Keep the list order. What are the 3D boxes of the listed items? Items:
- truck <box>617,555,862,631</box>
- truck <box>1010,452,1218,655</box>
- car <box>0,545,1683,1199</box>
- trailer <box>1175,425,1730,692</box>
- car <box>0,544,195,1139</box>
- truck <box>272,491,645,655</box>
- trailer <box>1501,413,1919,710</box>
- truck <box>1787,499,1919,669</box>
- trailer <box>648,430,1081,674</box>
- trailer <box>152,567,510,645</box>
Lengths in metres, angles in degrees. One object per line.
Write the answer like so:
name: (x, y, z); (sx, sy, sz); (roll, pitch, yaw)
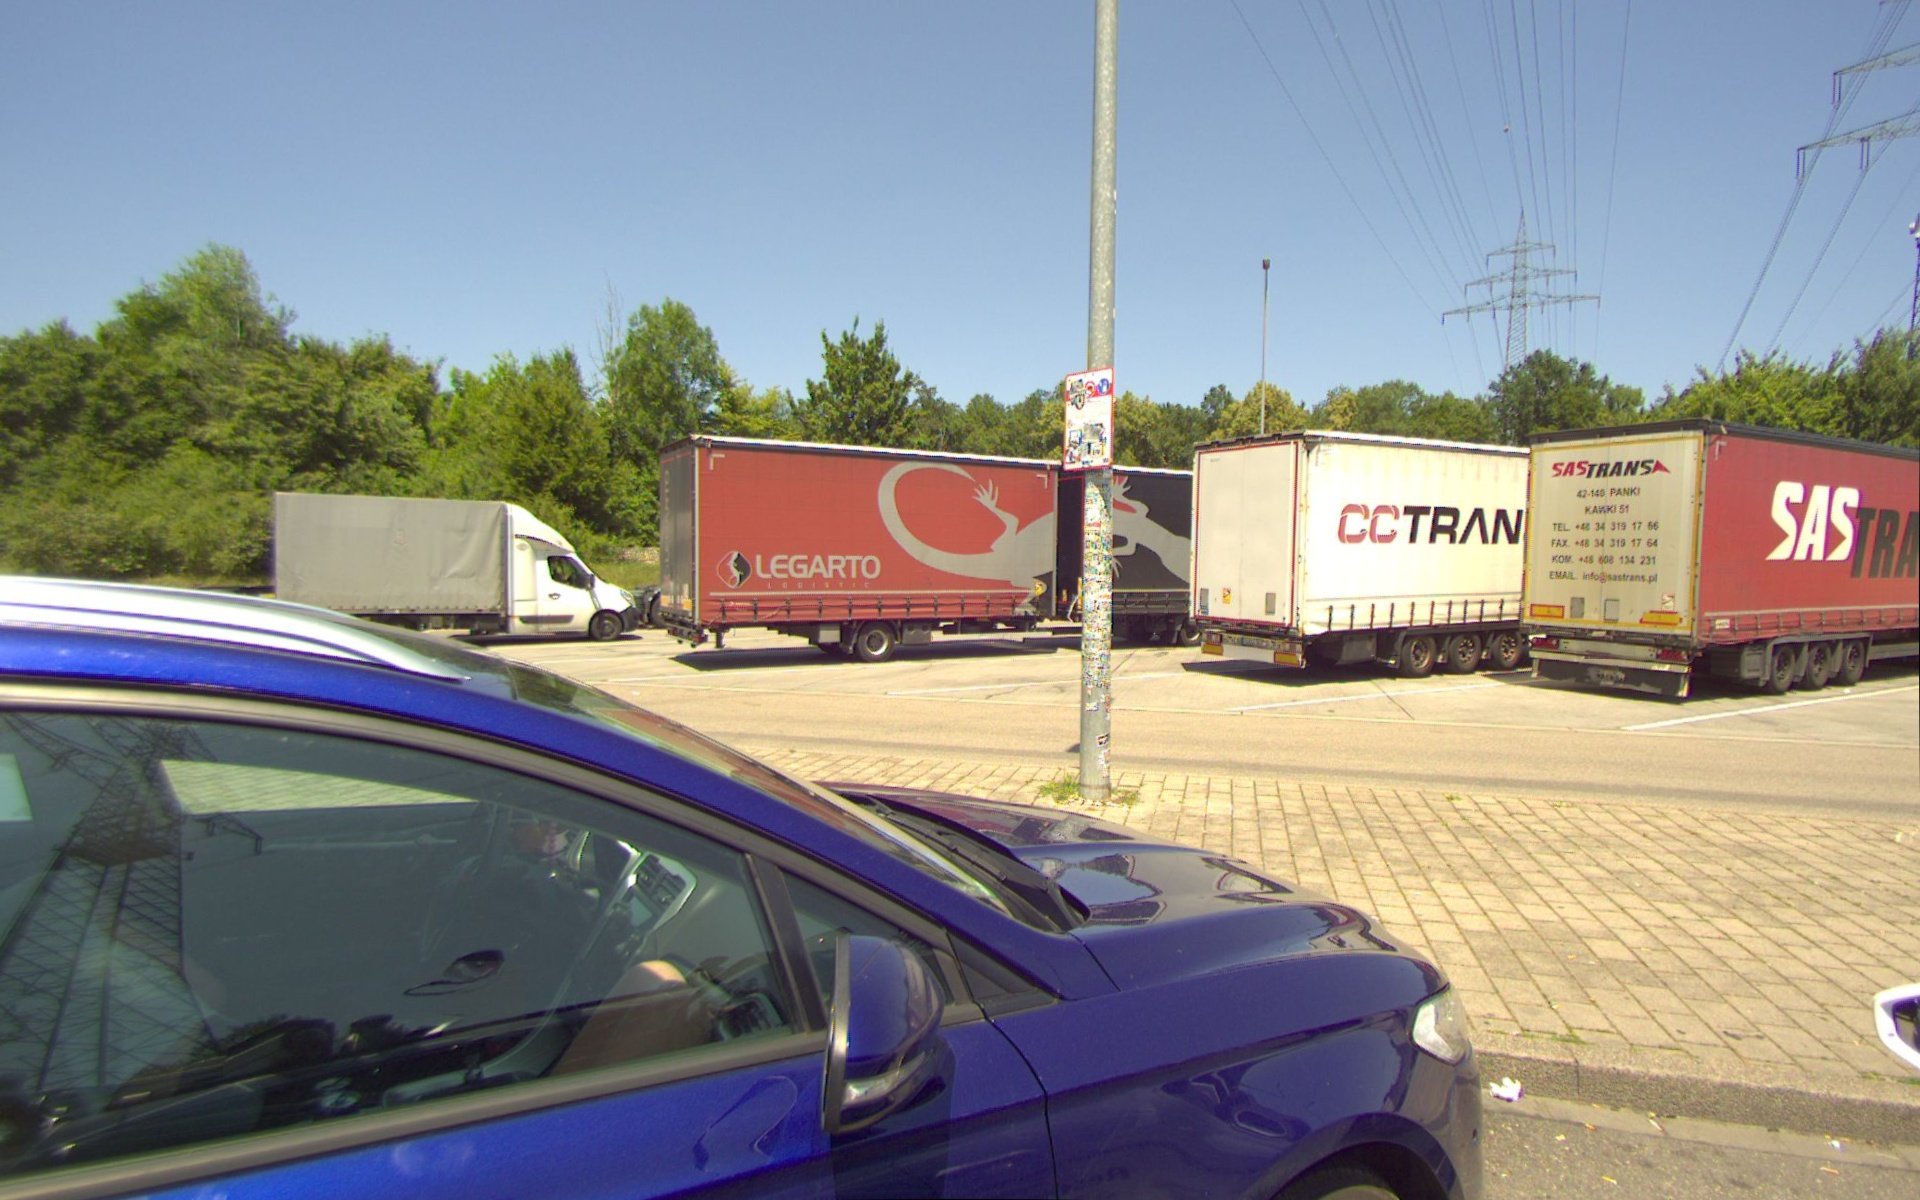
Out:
truck: (-6.350, -0.232, 29.279); (6.733, 2.041, 1.987); (-1, 1, -26)
truck: (3.567, -1.067, 23.454); (3.947, 4.298, 2.723); (-1, 3, -30)
car: (-1.039, 0.683, 1.499); (4.444, 1.511, 1.859); (0, 2, -32)
trailer: (10.584, -0.800, 20.341); (13.962, 4.141, 2.782); (-1, 3, -30)
car: (-4.615, 0.605, 2.231); (4.444, 1.520, 1.762); (0, 2, -32)
truck: (-11.192, -0.625, 23.029); (7.204, 3.279, 2.727); (-1, 3, -29)
trailer: (15.604, -0.691, 18.730); (13.962, 4.141, 2.777); (-1, 3, -30)
truck: (21.207, -0.393, 22.007); (5.829, 3.373, 2.837); (-1, 3, -30)
trailer: (-1.746, -0.900, 20.334); (8.376, 4.141, 2.722); (-1, 3, -30)
trailer: (-15.167, 0.055, 24.899); (7.204, 1.711, 2.249); (-1, 3, -29)
